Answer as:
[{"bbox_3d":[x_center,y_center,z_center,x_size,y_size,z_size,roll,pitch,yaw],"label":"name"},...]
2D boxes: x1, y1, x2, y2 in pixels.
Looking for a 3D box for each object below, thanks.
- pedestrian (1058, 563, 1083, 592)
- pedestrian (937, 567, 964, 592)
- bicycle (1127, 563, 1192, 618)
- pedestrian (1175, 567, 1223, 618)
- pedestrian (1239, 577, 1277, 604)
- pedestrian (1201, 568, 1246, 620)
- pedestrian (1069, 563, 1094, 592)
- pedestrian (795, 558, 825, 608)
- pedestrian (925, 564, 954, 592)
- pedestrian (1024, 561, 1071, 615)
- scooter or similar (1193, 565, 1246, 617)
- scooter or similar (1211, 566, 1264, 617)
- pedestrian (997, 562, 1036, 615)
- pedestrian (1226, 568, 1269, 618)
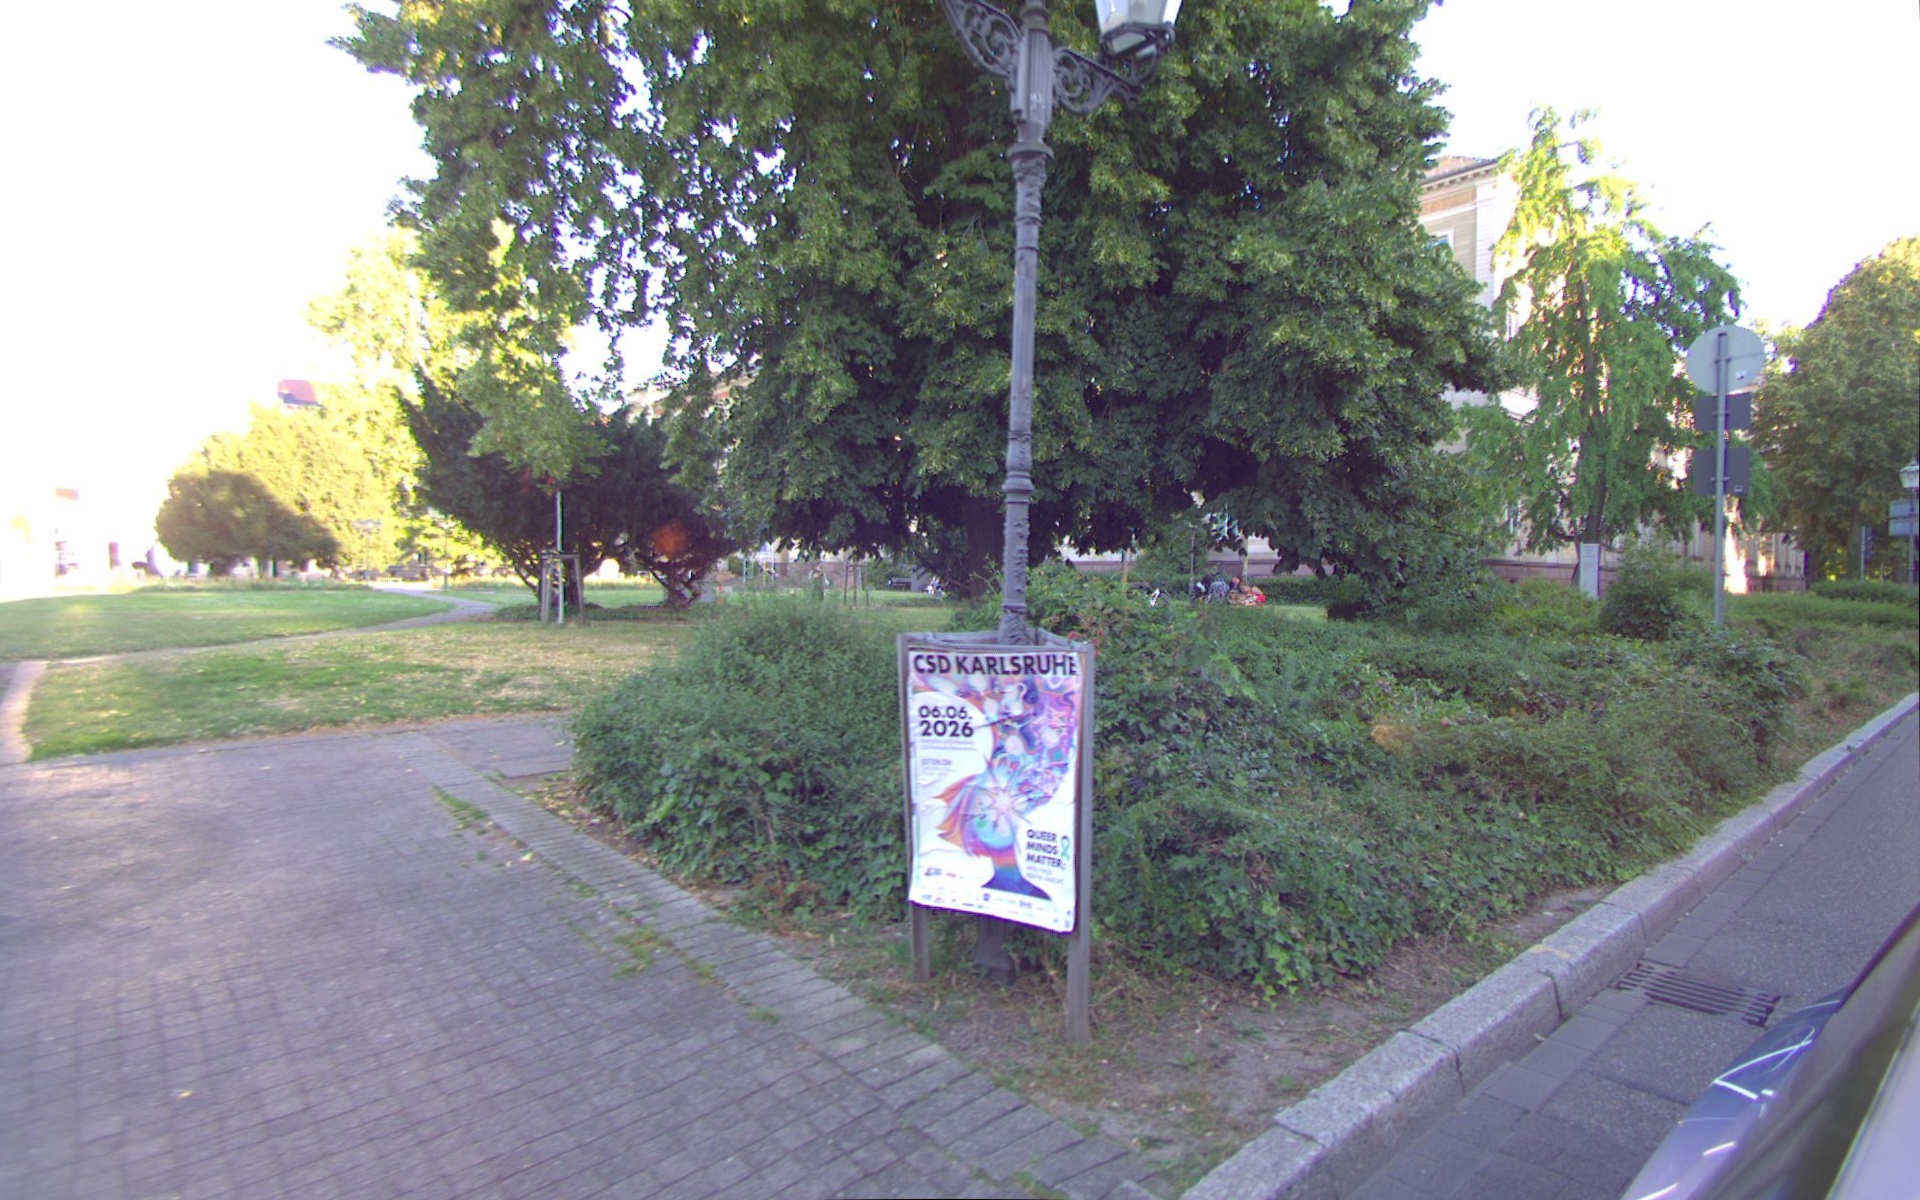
[{"bbox_3d":[5.525,-1.115,50.576,1.026,1.414,0.695,0,2,-41],"label":"pedestrian"},{"bbox_3d":[-0.545,-1.159,57.387,1.427,1.414,0.695,-1,2,-41],"label":"pedestrian"},{"bbox_3d":[5.053,-0.255,25.555,0.619,1.316,1.987,2,2,44],"label":"bicycle"},{"bbox_3d":[5.830,-0.197,24.694,0.775,1.206,0.809,-1,2,-38],"label":"pedestrian"},{"bbox_3d":[7.133,-0.240,24.185,0.537,0.556,1.364,5,4,29],"label":"pedestrian"},{"bbox_3d":[6.253,-0.158,24.031,0.733,1.206,0.724,-1,2,-38],"label":"pedestrian"},{"bbox_3d":[5.994,-1.109,49.811,1.026,1.414,0.695,0,2,-41],"label":"pedestrian"},{"bbox_3d":[-5.346,-0.612,36.170,0.746,1.769,0.771,-1,2,-44],"label":"pedestrian"},{"bbox_3d":[-1.180,-1.245,58.278,1.540,1.575,0.801,-1,2,-41],"label":"pedestrian"},{"bbox_3d":[2.302,-0.327,26.643,0.913,1.364,0.874,2,2,34],"label":"pedestrian"},{"bbox_3d":[6.587,-0.242,25.686,1.212,1.261,0.413,2,2,34],"label":"scooter or similar"},{"bbox_3d":[7.107,-0.239,25.920,1.213,1.261,0.413,2,2,37],"label":"scooter or similar"},{"bbox_3d":[1.512,-0.317,27.023,0.756,1.364,0.779,2,2,33],"label":"pedestrian"},{"bbox_3d":[7.125,-0.175,25.075,0.778,1.206,0.666,0,2,-13],"label":"pedestrian"}]
